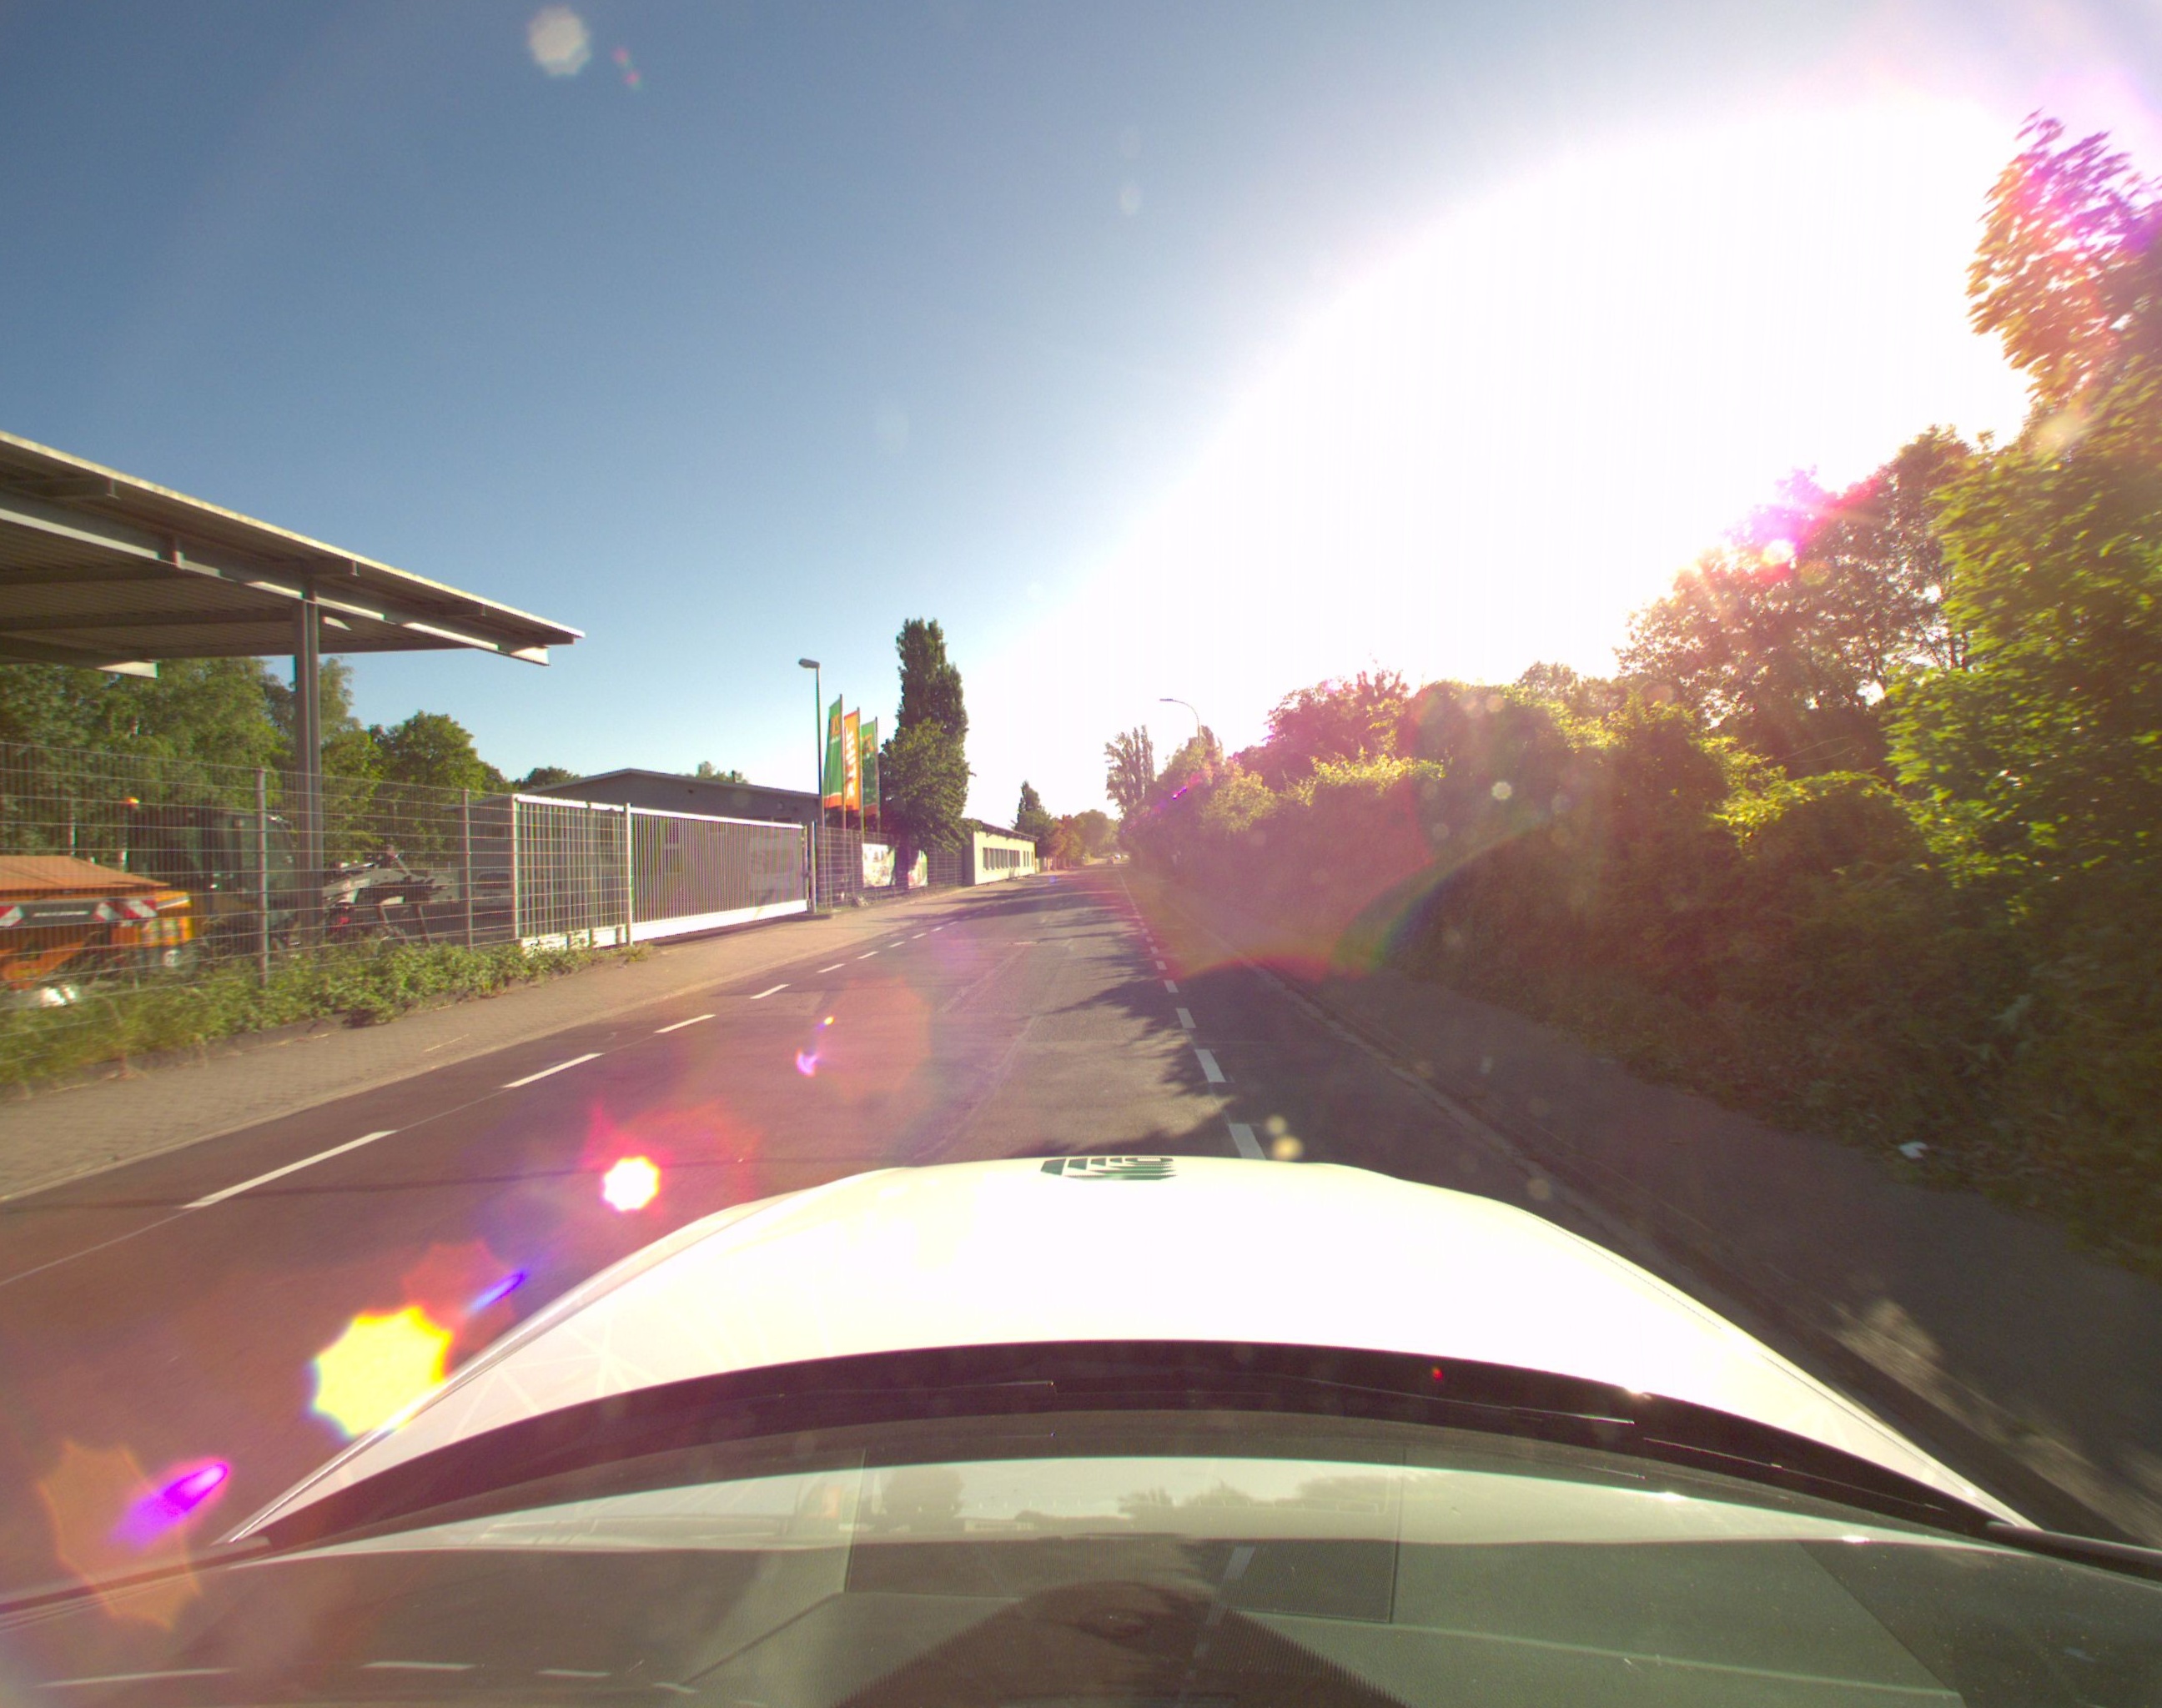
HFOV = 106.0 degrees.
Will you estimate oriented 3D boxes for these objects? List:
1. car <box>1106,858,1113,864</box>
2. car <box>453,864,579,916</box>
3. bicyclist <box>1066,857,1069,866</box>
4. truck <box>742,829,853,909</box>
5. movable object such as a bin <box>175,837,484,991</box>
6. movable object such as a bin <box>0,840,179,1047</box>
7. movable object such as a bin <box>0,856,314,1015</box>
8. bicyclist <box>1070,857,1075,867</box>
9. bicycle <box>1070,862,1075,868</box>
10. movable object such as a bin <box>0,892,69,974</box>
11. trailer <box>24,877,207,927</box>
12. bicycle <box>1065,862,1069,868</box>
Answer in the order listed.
[{"bbox_3d":[8.405,2.068,238.020,1.934,1.651,4.311,0,0,2],"label":"car"},{"bbox_3d":[-21.954,1.340,31.870,1.986,1.815,4.002,-2,0,2],"label":"car"},{"bbox_3d":[-2.179,1.207,131.044,0.558,1.534,0.690,0,-1,2],"label":"bicyclist"},{"bbox_3d":[-10.842,0.535,31.673,2.071,2.761,5.767,-2,0,2],"label":"truck"},{"bbox_3d":[-10.797,0.763,12.020,1.652,1.934,3.096,-2,0,-1],"label":"movable object such as a bin"},{"bbox_3d":[-11.085,0.829,7.844,3.029,1.835,1.526,-2,0,0],"label":"movable object such as a bin"},{"bbox_3d":[-11.184,0.904,9.672,2.629,1.680,1.526,-2,0,0],"label":"movable object such as a bin"},{"bbox_3d":[-1.337,1.280,130.445,0.686,1.532,0.723,0,-1,2],"label":"bicyclist"},{"bbox_3d":[-1.339,1.759,130.466,0.686,1.034,1.351,0,0,2],"label":"bicycle"},{"bbox_3d":[-18.622,1.358,13.189,1.163,1.332,2.635,-2,0,-1],"label":"movable object such as a bin"},{"bbox_3d":[-36.049,1.752,30.605,1.985,1.589,4.003,-2,0,3],"label":"trailer"},{"bbox_3d":[-2.175,1.779,131.116,0.560,1.034,1.351,0,0,2],"label":"bicycle"}]
